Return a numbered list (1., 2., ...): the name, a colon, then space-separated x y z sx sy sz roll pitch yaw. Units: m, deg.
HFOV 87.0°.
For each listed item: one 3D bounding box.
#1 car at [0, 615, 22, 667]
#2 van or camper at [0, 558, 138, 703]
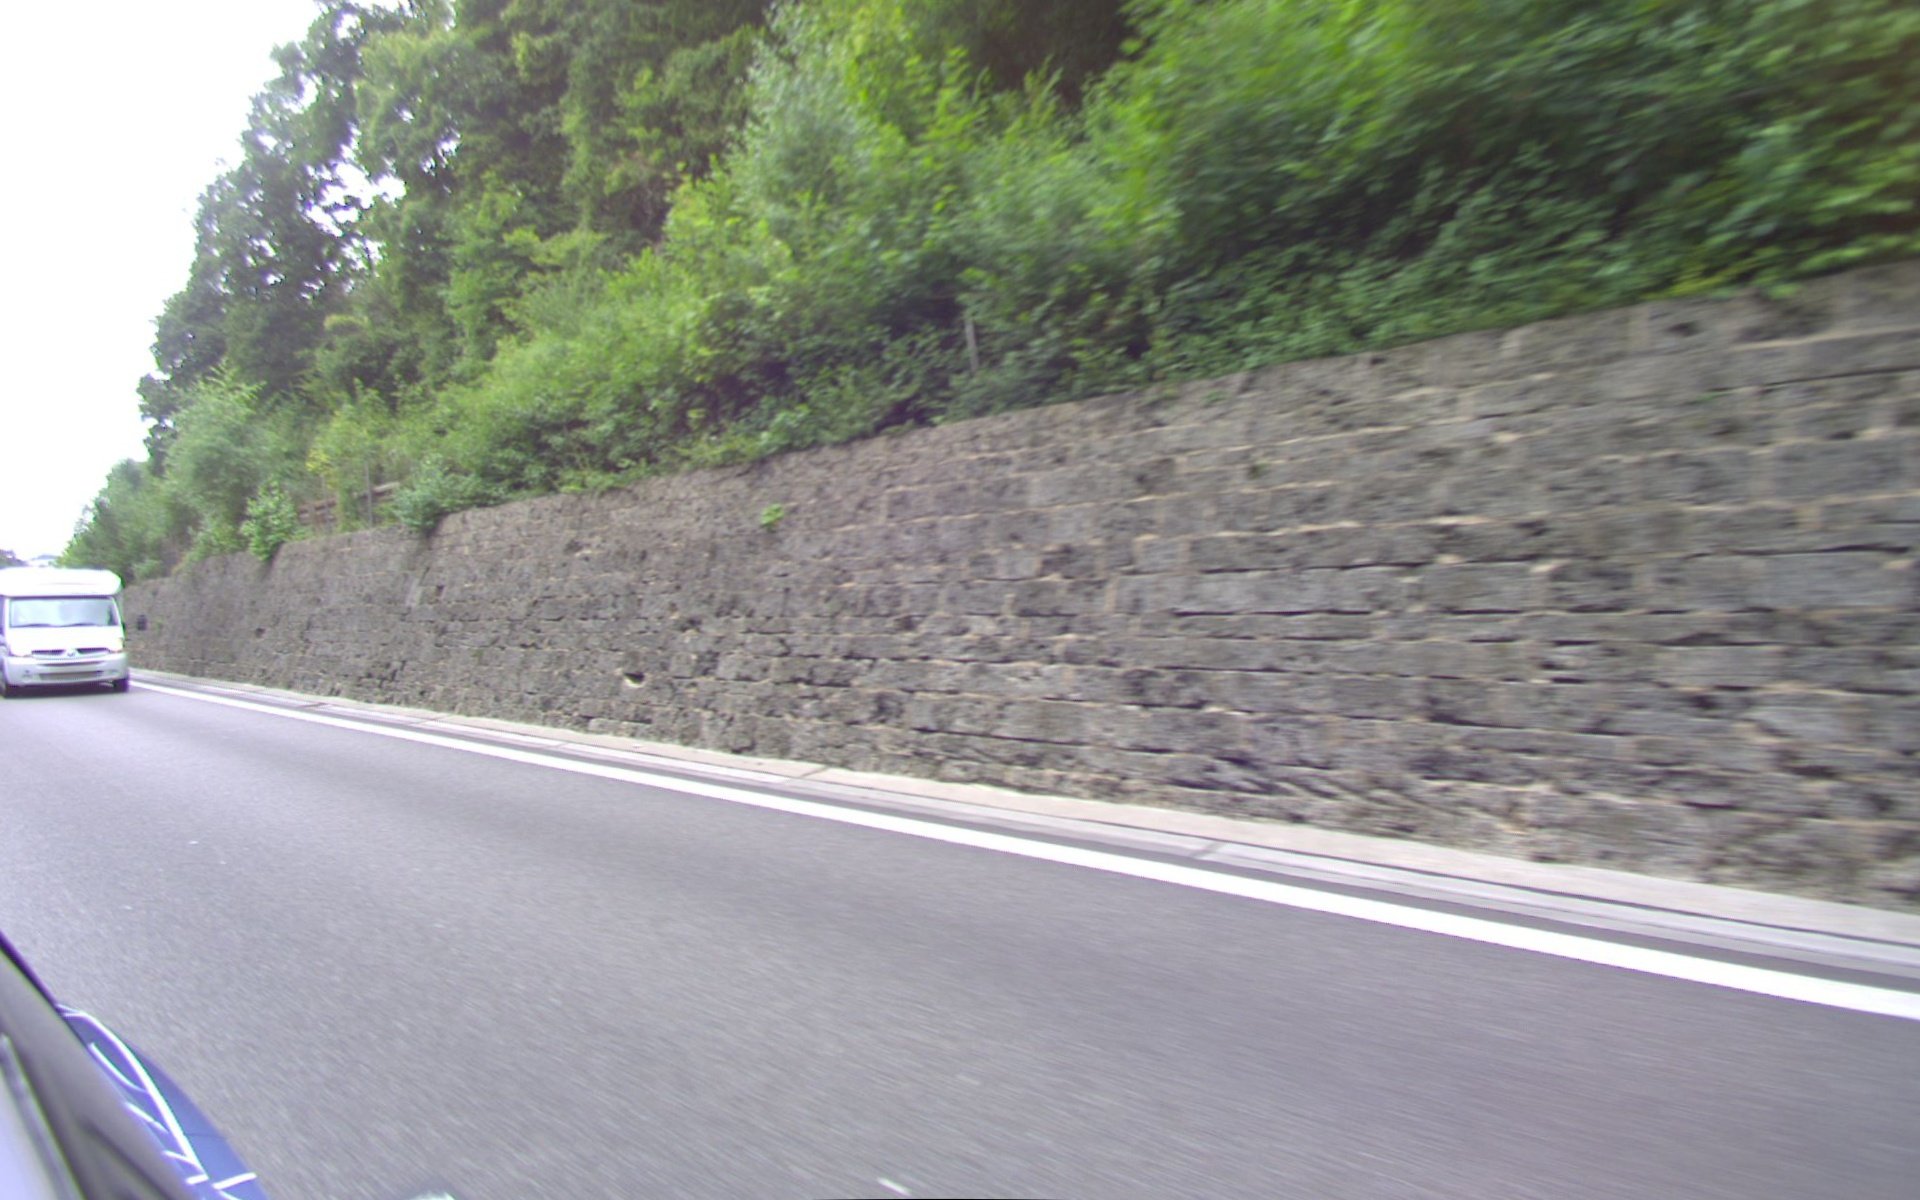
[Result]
1. car: -35.275 1.491 36.552 4.000 1.796 1.784 -1 0 43
2. van or camper: -20.206 0.638 22.296 7.023 2.756 2.241 -1 -1 42
